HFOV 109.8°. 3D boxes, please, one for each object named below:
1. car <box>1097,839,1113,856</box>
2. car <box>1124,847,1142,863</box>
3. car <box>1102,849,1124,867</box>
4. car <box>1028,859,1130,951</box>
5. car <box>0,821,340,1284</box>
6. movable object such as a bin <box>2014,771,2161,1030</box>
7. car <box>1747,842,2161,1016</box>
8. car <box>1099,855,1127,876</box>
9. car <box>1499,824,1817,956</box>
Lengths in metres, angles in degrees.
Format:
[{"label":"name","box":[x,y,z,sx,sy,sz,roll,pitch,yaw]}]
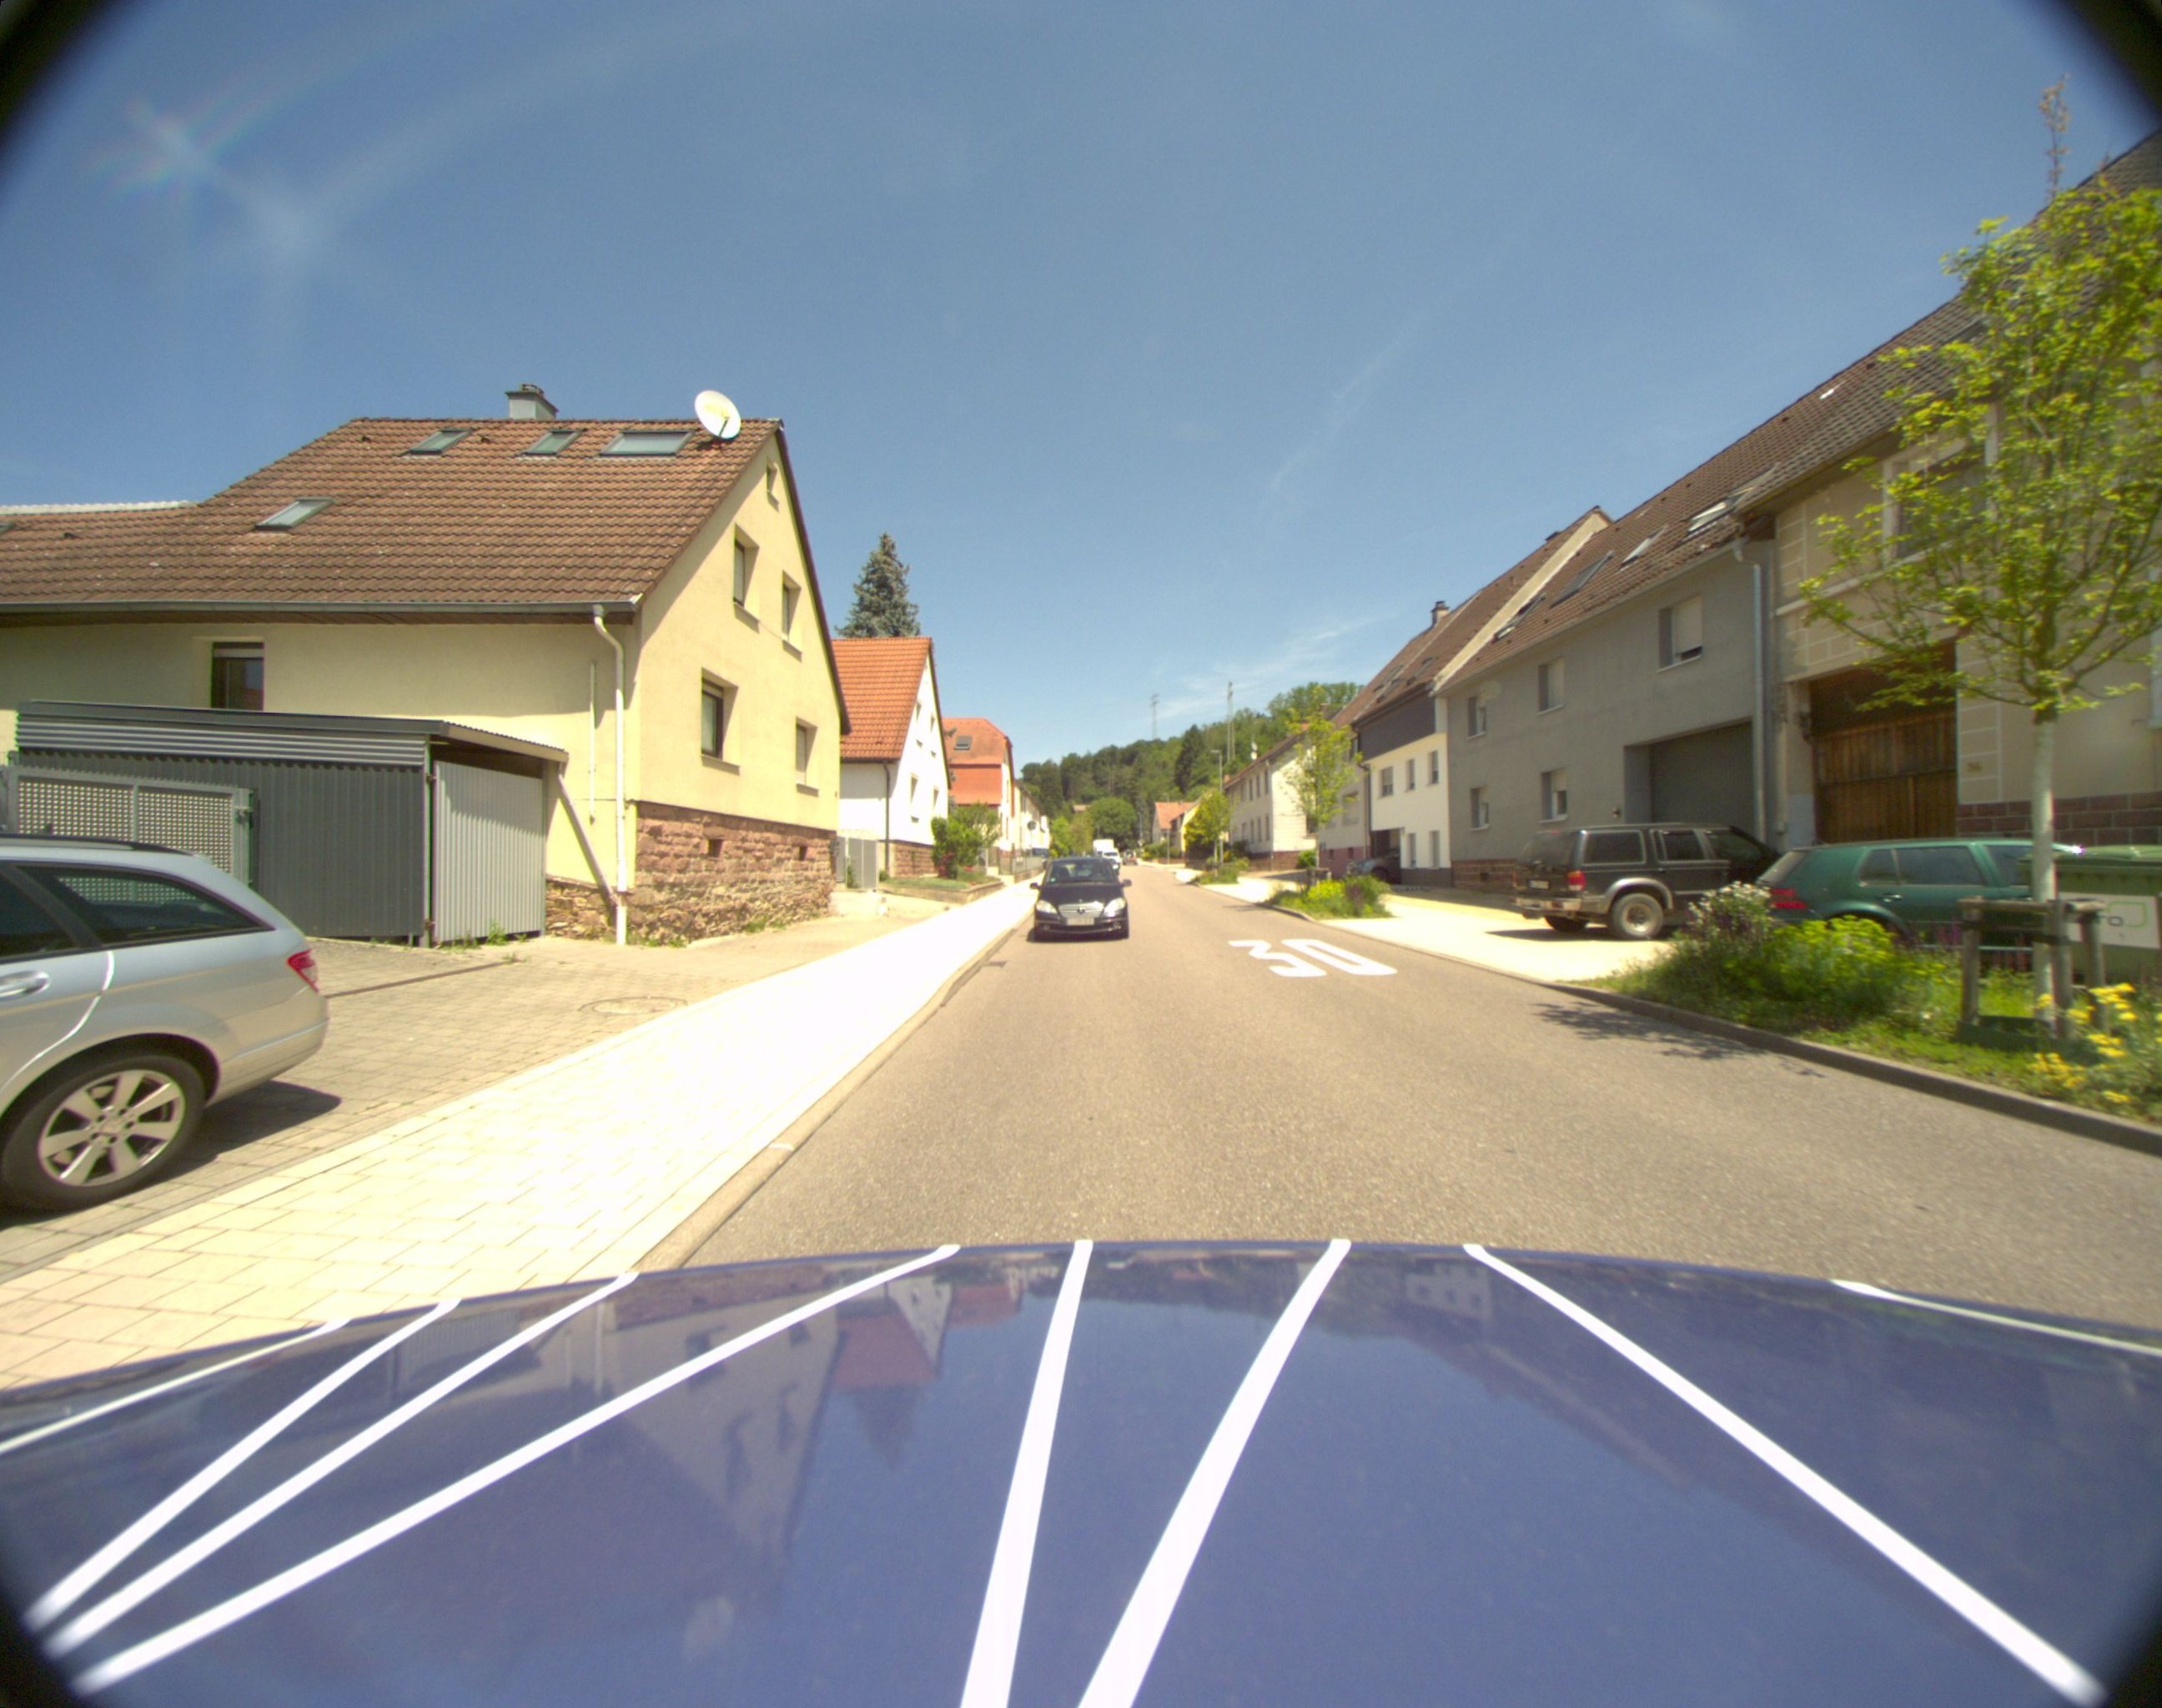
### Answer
[{"label":"car","box":[3.241,-0.840,101.729,1.986,2.170,4.000,-2,1,2]},{"label":"car","box":[6.933,0.112,101.518,2.371,1.989,5.173,-2,1,4]},{"label":"car","box":[3.296,0.390,79.584,1.999,1.716,3.999,-2,0,-1]},{"label":"car","box":[0.037,0.935,16.042,1.767,1.571,4.932,-2,-1,2]},{"label":"car","box":[-4.790,0.701,1.635,1.867,1.612,4.508,3,1,2]},{"label":"movable object such as a bin","box":[8.862,0.340,6.117,1.062,2.002,1.323,-2,1,1]},{"label":"car","box":[9.577,0.682,7.800,4.040,1.491,1.707,-2,1,39]},{"label":"car","box":[2.492,0.867,60.113,1.999,1.477,4.221,-2,0,-1]},{"label":"car","box":[8.946,0.515,12.015,3.606,1.780,1.848,-2,1,-1]}]
